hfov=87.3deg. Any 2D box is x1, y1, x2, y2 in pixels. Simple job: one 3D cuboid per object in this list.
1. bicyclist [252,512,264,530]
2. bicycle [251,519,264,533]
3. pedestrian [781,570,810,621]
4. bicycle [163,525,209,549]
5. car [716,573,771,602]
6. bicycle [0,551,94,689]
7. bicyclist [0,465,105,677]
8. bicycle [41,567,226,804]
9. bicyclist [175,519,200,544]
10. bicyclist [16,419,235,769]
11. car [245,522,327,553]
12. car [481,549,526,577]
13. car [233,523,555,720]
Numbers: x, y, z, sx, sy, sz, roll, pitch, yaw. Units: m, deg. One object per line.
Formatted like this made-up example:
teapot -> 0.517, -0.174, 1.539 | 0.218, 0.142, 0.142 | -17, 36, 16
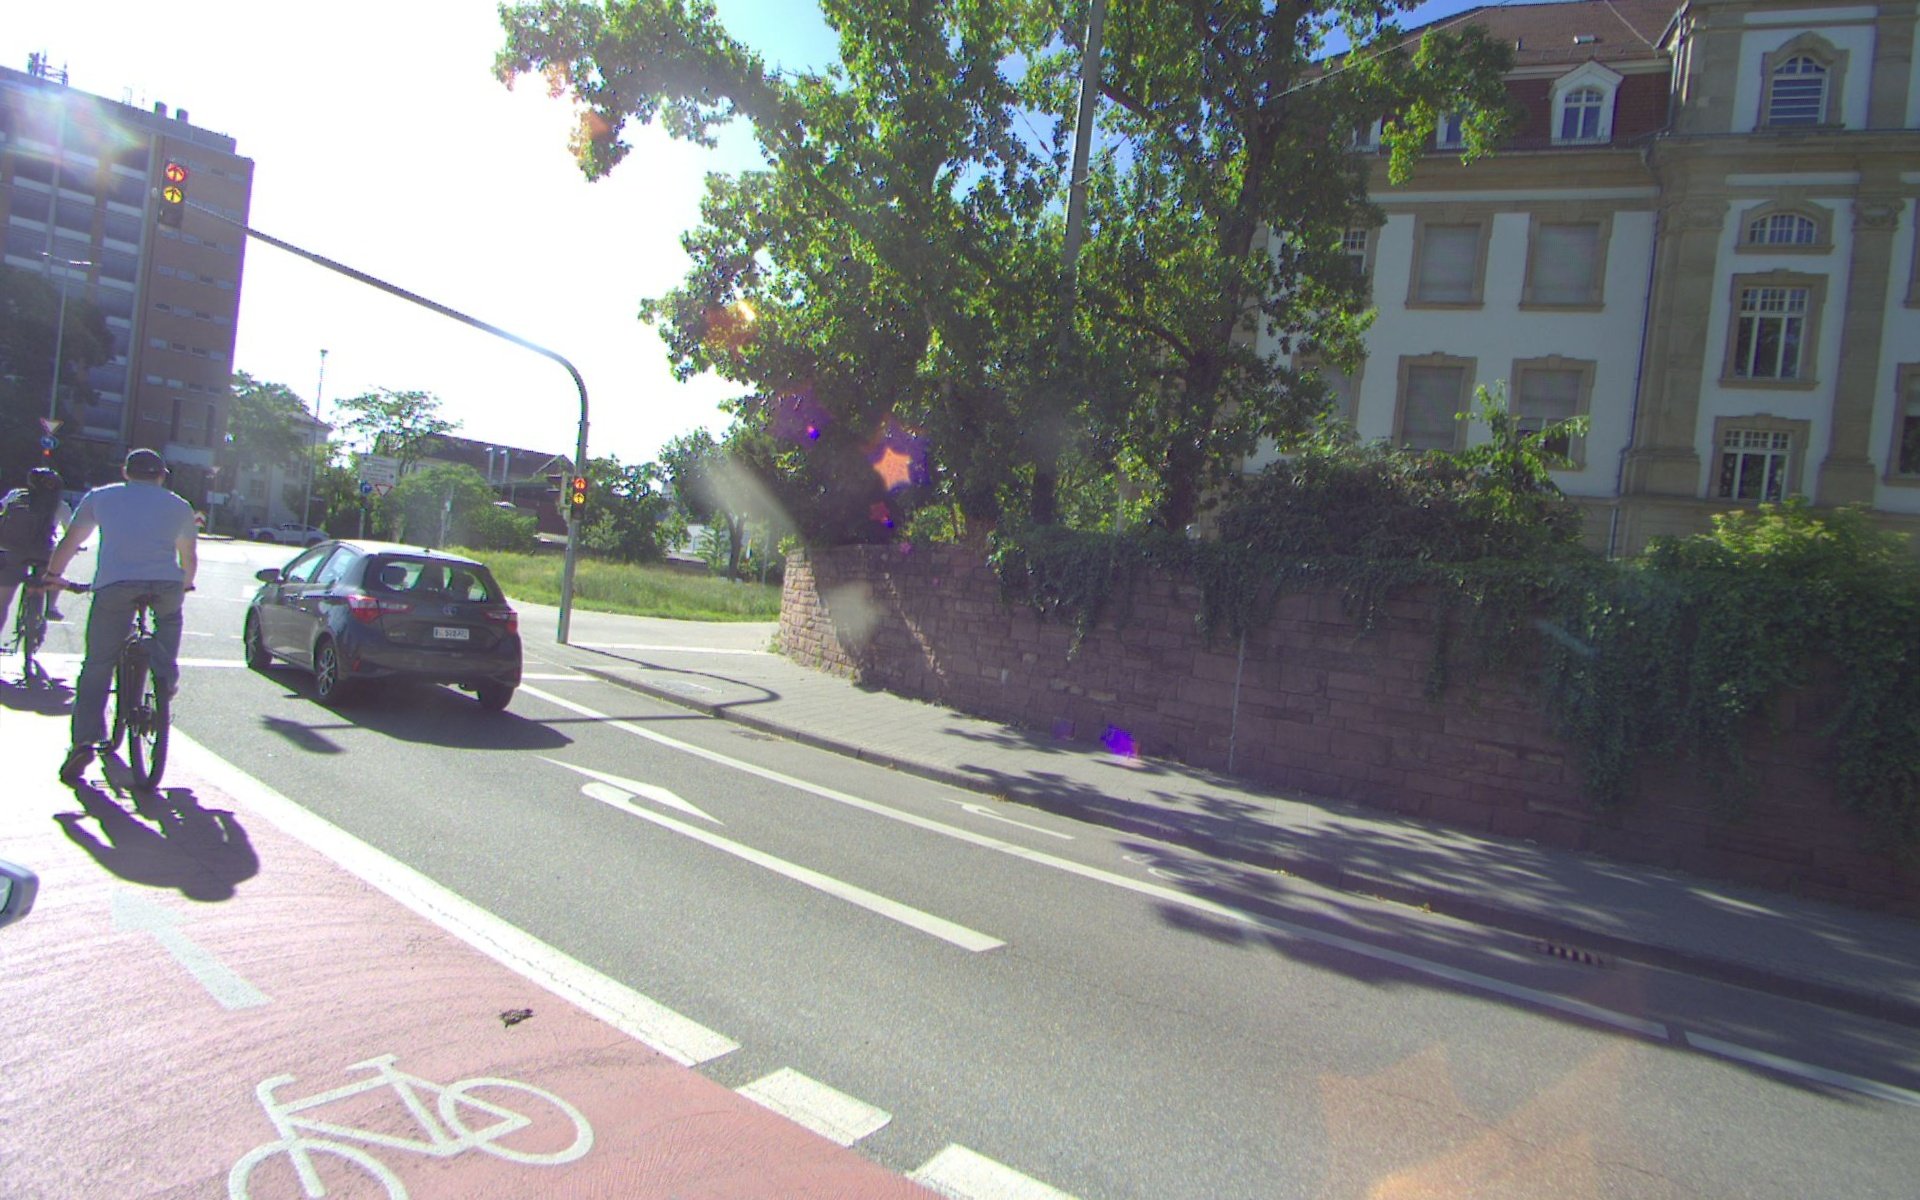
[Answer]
bicyclist -> -60.178, -6.758, 86.240 | 0.613, 1.462, 0.813 | 6, 1, -28
bicycle -> -60.243, -6.380, 86.291 | 0.603, 1.106, 1.660 | 6, 1, -27
pedestrian -> -6.319, -0.163, 38.694 | 0.746, 1.856, 1.049 | 6, 1, 4
bicycle -> -61.874, -5.019, 80.473 | 0.868, 1.559, 2.813 | 6, -2, 19
car -> -19.614, -1.141, 91.121 | 4.310, 2.037, 1.988 | 7, -2, -27
bicycle -> -7.969, 0.130, 8.570 | 0.721, 0.971, 1.860 | 8, -1, -44
bicyclist -> -7.850, -0.257, 8.517 | 0.720, 1.645, 1.042 | 8, -1, -44
bicycle -> -4.839, 0.433, 5.840 | 0.609, 1.090, 1.807 | 7, -1, -44
bicyclist -> -61.815, -5.501, 80.477 | 0.868, 1.818, 1.161 | 6, -1, 19
bicyclist -> -4.779, -0.027, 5.747 | 0.747, 1.797, 1.001 | 7, 0, -44
car -> -44.402, -4.087, 66.346 | 4.221, 1.588, 1.802 | 5, -2, -44
car -> -38.944, -3.141, 85.861 | 1.872, 1.957, 3.864 | 6, -2, 1
car -> -5.964, 0.167, 10.440 | 3.609, 1.560, 1.754 | 6, -2, 42
